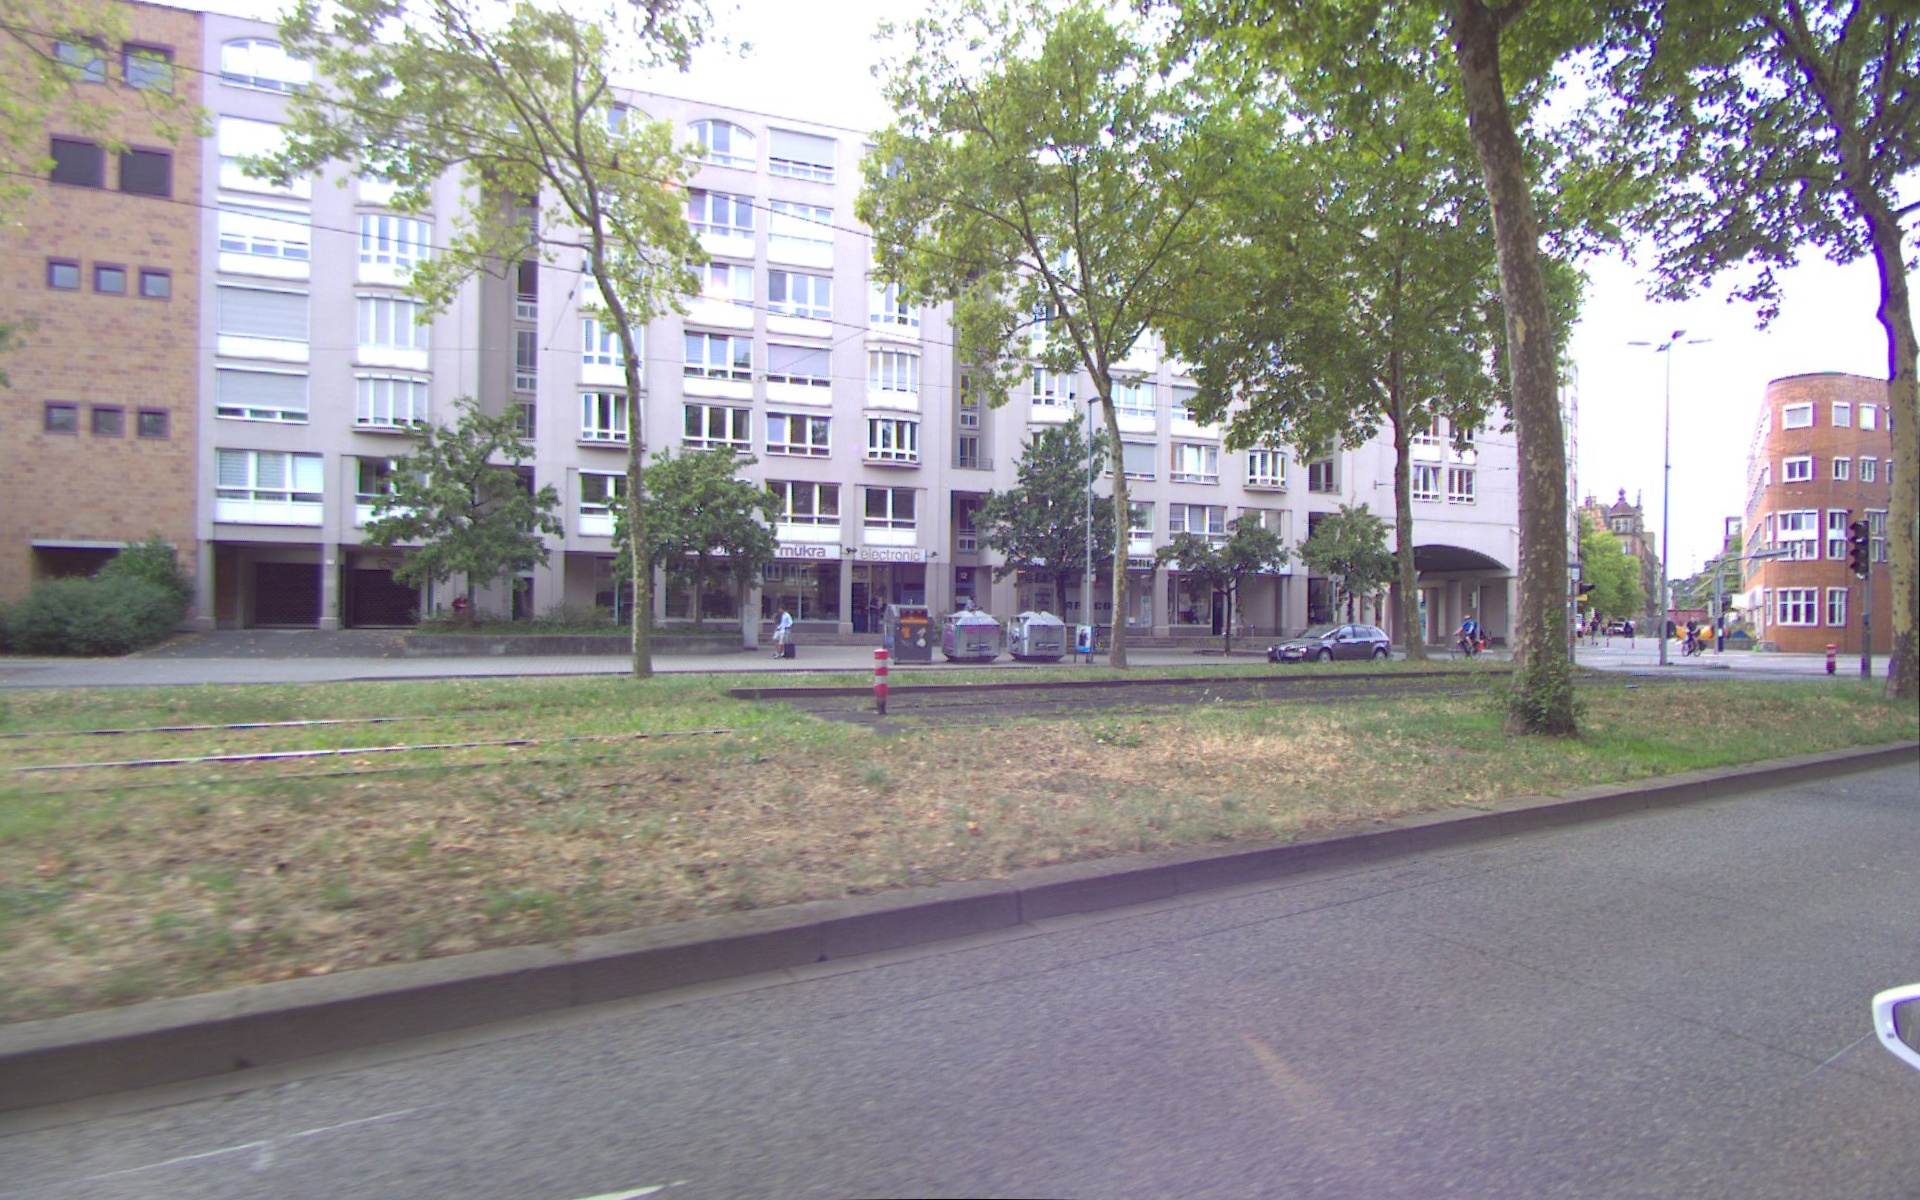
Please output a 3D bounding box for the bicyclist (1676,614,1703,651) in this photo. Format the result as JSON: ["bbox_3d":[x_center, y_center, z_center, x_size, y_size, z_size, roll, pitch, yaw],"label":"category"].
[{"bbox_3d":[37.149,1.631,51.152,1.067,1.872,0.664,1,-1,-26],"label":"bicyclist"}]

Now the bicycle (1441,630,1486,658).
[{"bbox_3d":[20.591,1.786,41.076,1.853,1.106,0.688,1,-1,-27],"label":"bicycle"}]

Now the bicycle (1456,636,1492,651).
[{"bbox_3d":[30.667,2.599,59.912,0.571,0.847,1.974,1,-1,-26],"label":"bicycle"}]

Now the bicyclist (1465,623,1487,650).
[{"bbox_3d":[30.718,2.160,59.802,0.575,1.583,1.027,1,-1,-26],"label":"bicyclist"}]

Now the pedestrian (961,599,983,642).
[{"bbox_3d":[0.519,0.866,42.450,0.682,1.833,0.768,1,-1,-21],"label":"pedestrian"}]

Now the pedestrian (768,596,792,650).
[{"bbox_3d":[-5.830,0.756,32.510,0.618,1.728,0.550,0,0,-26],"label":"pedestrian"}]

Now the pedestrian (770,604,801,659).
[{"bbox_3d":[-5.544,0.996,31.929,0.873,1.728,0.550,0,0,-27],"label":"pedestrian"}]

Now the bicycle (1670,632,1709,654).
[{"bbox_3d":[37.158,2.174,51.159,2.180,1.107,0.675,1,-1,-27],"label":"bicycle"}]

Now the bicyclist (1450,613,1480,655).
[{"bbox_3d":[20.667,1.378,41.120,0.940,1.695,0.687,1,0,-26],"label":"bicyclist"}]

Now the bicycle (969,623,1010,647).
[{"bbox_3d":[1.211,1.433,40.811,1.610,0.956,0.438,1,-1,-23],"label":"bicycle"}]

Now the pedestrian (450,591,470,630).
[{"bbox_3d":[-17.454,0.370,35.051,0.546,1.340,0.457,0,0,-20],"label":"pedestrian"}]

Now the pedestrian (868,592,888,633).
[{"bbox_3d":[-3.454,0.525,42.176,0.650,1.694,0.635,1,0,-22],"label":"pedestrian"}]

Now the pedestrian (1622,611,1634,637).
[{"bbox_3d":[52.159,1.881,78.453,0.779,1.990,0.803,0,-1,35],"label":"pedestrian"}]

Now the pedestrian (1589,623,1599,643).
[{"bbox_3d":[53.775,2.806,85.170,0.682,1.693,0.829,0,-1,33],"label":"pedestrian"}]

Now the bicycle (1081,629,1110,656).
[{"bbox_3d":[5.217,1.627,38.716,0.433,0.956,1.626,1,-1,-18],"label":"bicycle"}]

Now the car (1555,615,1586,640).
[{"bbox_3d":[50.570,2.239,83.195,1.967,1.962,4.931,0,-1,34],"label":"car"}]

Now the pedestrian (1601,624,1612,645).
[{"bbox_3d":[62.996,3.340,97.831,0.851,2.040,1.340,0,-1,35],"label":"pedestrian"}]

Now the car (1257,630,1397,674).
[{"bbox_3d":[11.517,1.583,31.446,4.483,1.261,1.720,1,-1,-32],"label":"car"}]

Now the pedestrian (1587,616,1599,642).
[{"bbox_3d":[42.105,1.943,66.790,0.664,1.702,0.751,0,-1,32],"label":"pedestrian"}]
